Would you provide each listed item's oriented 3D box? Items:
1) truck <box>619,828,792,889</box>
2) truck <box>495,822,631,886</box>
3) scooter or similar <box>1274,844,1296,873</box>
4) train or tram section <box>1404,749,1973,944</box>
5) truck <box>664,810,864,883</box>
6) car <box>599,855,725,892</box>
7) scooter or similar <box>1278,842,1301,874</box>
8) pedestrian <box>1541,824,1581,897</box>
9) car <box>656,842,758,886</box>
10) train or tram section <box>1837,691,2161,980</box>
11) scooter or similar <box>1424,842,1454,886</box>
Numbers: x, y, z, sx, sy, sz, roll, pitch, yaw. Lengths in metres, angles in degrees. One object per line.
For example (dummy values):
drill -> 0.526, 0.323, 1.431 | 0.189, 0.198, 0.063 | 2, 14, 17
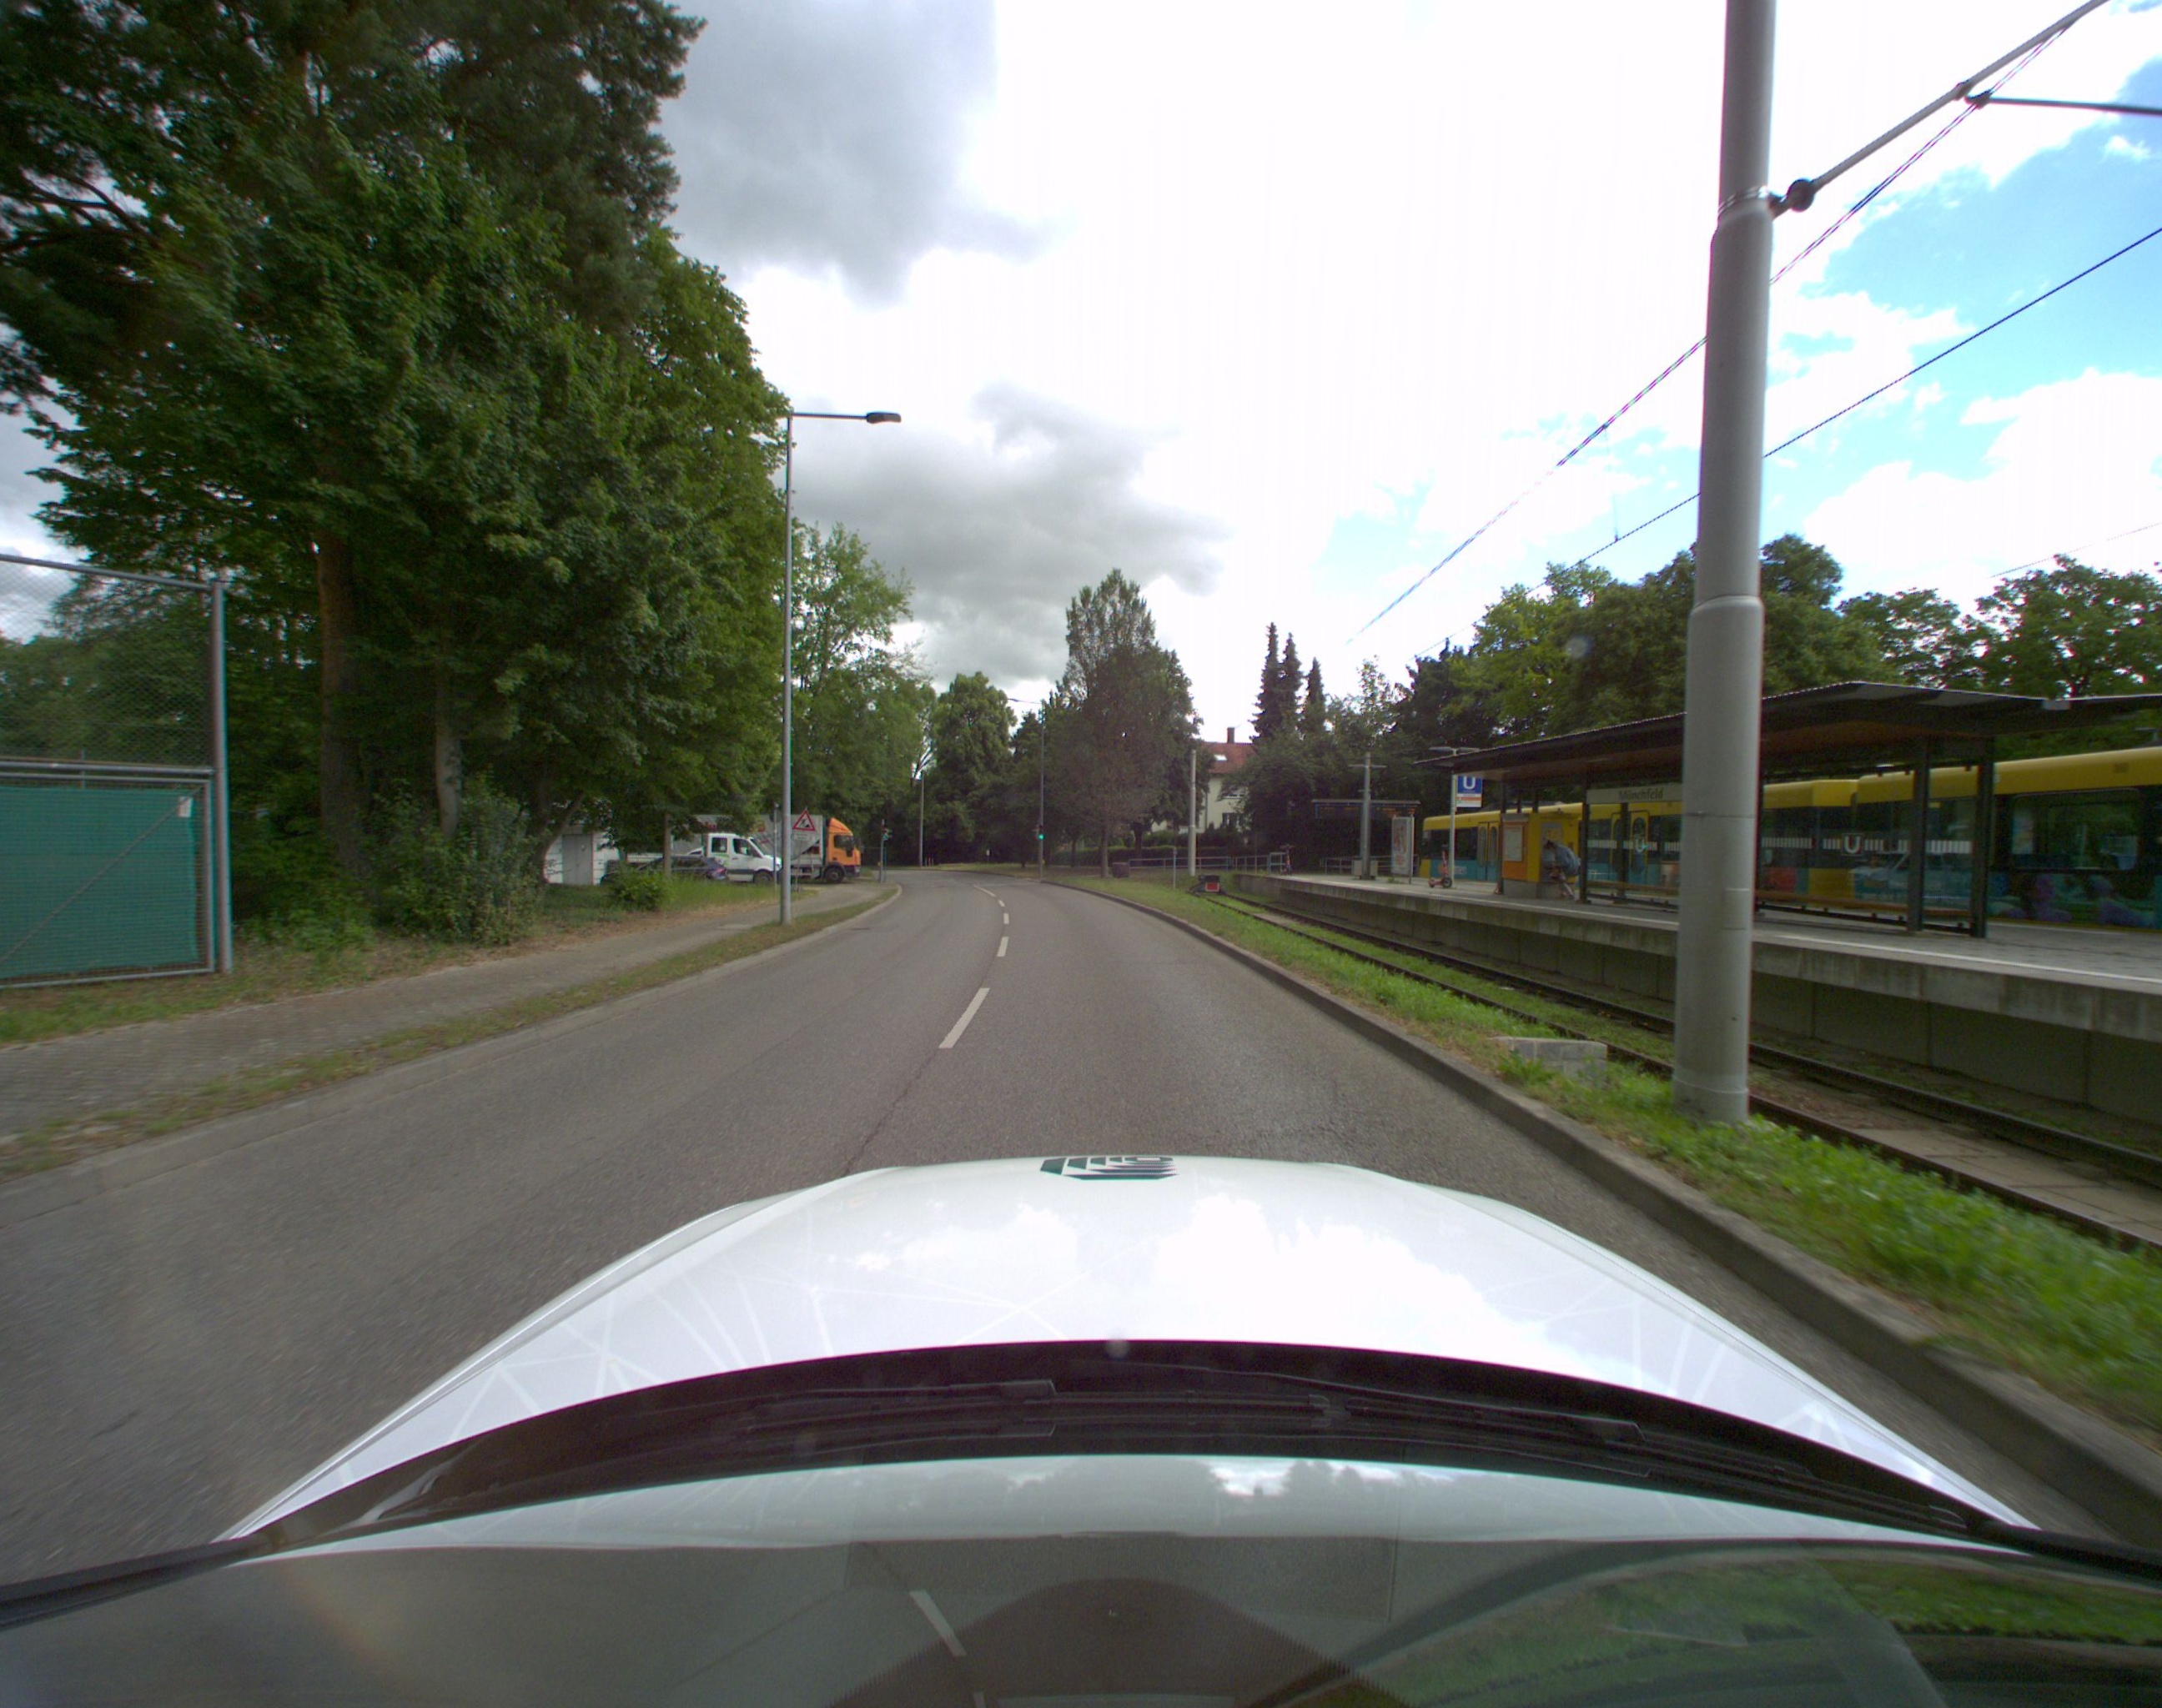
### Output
truck -> -15.940, 0.239, 35.026 | 6.400, 2.416, 2.111 | 1, -2, -17
truck -> -27.374, -0.057, 43.308 | 5.935, 3.199, 2.430 | -1, 2, -31
scooter or similar -> 8.965, 0.196, 35.799 | 0.430, 1.253, 1.249 | -1, -2, -12
train or tram section -> 15.270, -0.234, 25.018 | 2.804, 3.588, 19.510 | 2, 1, 0
truck -> -16.008, -0.328, 41.879 | 9.244, 3.531, 2.552 | 0, -1, -15
car -> -15.467, 0.748, 30.285 | 4.003, 1.327, 1.704 | 1, -3, -22
scooter or similar -> 8.465, 0.179, 33.168 | 0.429, 1.253, 1.251 | -1, -2, -9
pedestrian -> 10.567, 0.142, 17.950 | 0.617, 1.573, 0.668 | 0, 0, 17
car -> -17.203, 0.476, 37.691 | 3.995, 1.909, 1.772 | 2, 0, -16
train or tram section -> 15.295, -0.162, 5.336 | 2.803, 3.736, 19.517 | 2, 1, 1
scooter or similar -> 10.311, 0.276, 23.489 | 0.367, 1.242, 1.146 | 0, 0, 0
